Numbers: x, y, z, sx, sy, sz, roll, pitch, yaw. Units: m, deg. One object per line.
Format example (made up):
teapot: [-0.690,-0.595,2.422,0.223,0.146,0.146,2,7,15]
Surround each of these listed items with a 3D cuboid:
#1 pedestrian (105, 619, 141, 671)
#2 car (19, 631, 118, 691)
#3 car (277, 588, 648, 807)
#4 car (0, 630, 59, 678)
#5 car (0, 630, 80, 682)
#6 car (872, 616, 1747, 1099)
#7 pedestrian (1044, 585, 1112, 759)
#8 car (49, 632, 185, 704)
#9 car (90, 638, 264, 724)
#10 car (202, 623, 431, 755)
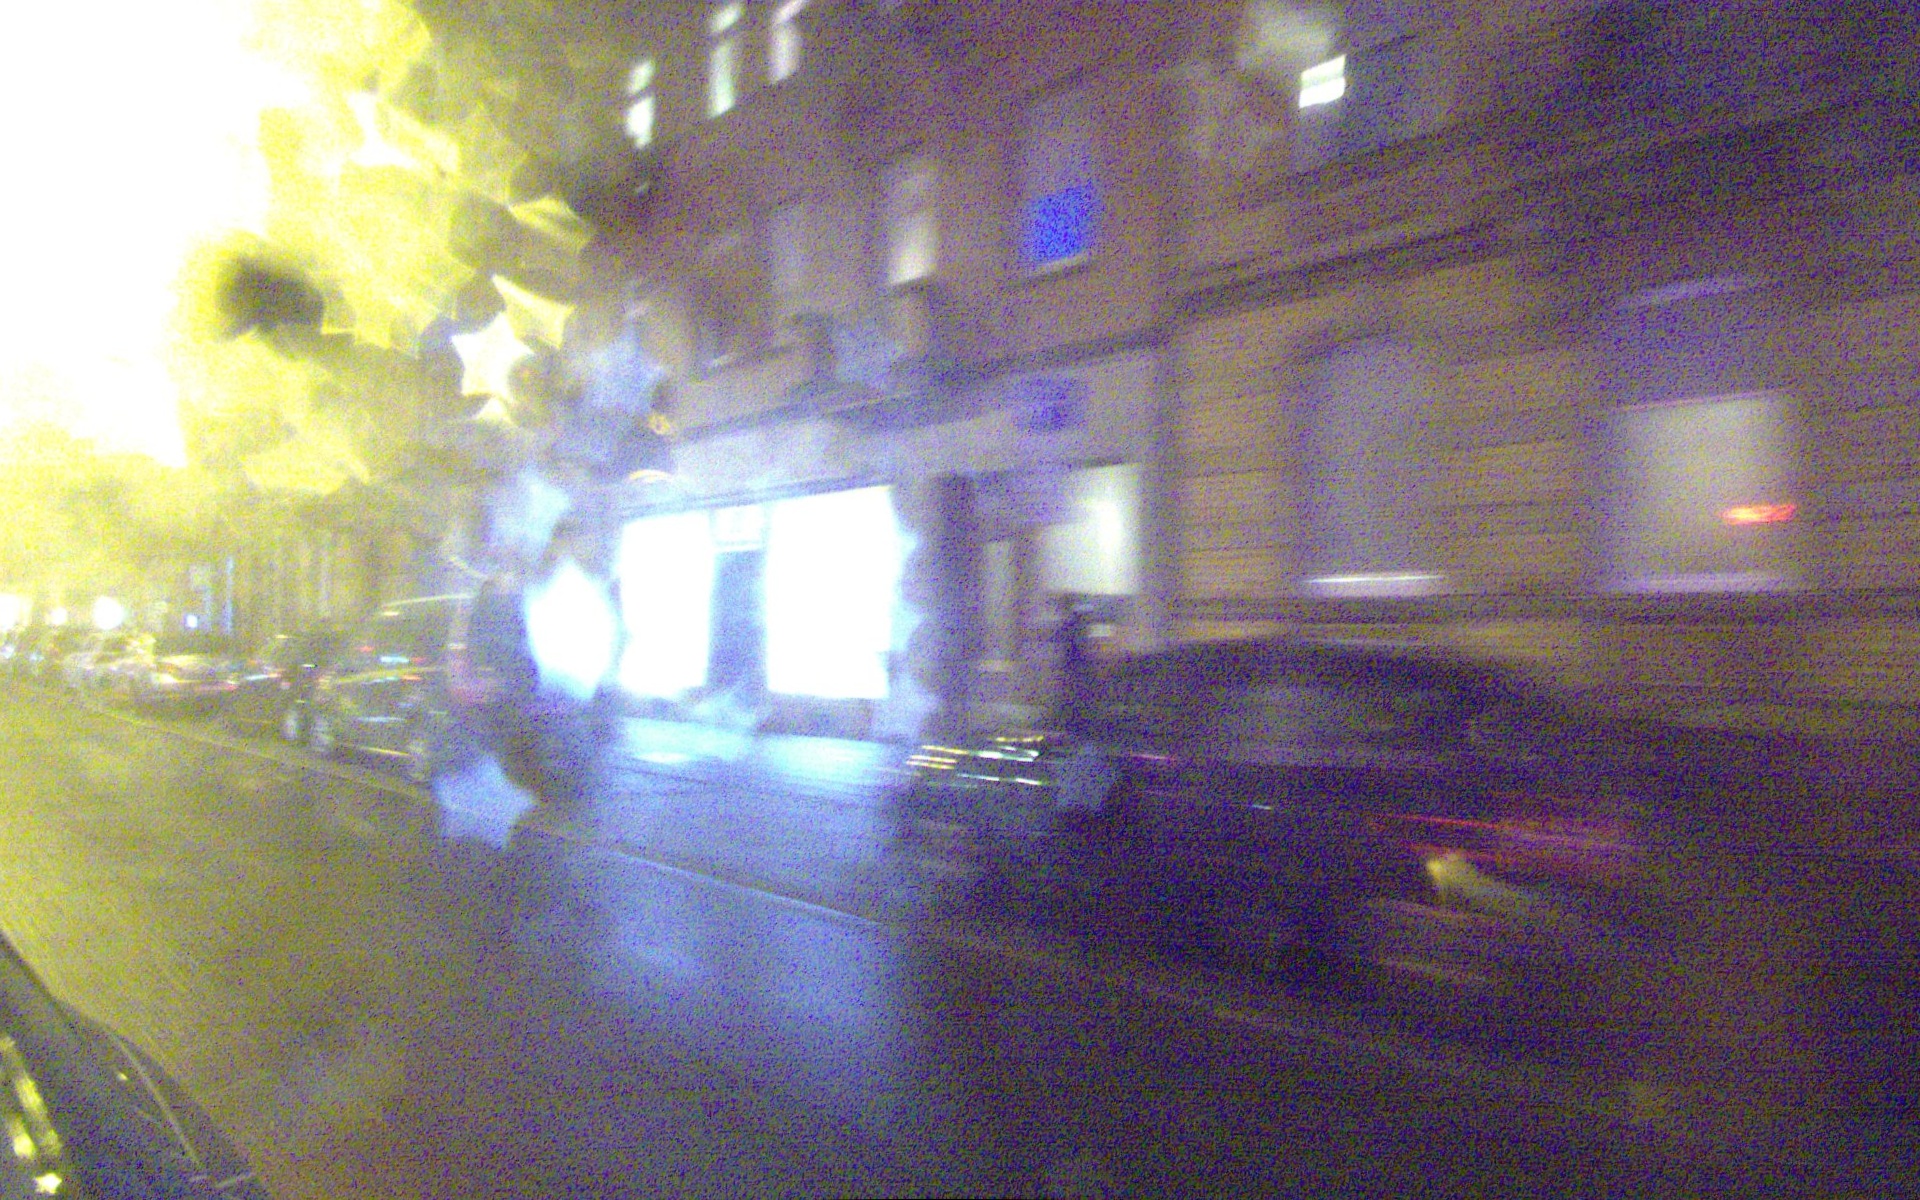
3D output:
pedestrian: [-29.823,1.603,36.069,0.629,1.801,0.900,-1,0,42]
car: [-23.323,1.562,26.449,3.382,1.465,1.512,-2,-3,42]
car: [-5.510,0.903,10.884,4.827,1.843,1.882,-2,-3,42]
car: [-30.973,1.775,33.206,3.962,1.490,1.674,-3,-4,42]
car: [-27.892,1.692,30.612,3.385,1.490,1.673,-4,-4,45]
car: [1.412,0.851,4.932,3.718,1.471,1.552,-2,-3,42]
pedestrian: [1.274,0.771,10.886,0.460,1.802,0.587,-4,-6,44]
car: [-19.029,1.467,22.793,4.271,1.465,1.708,-2,-3,42]
car: [-14.596,1.409,18.773,4.553,1.402,1.708,-2,-3,42]
car: [-8.982,1.134,14.028,3.718,1.587,1.708,-2,-3,42]
